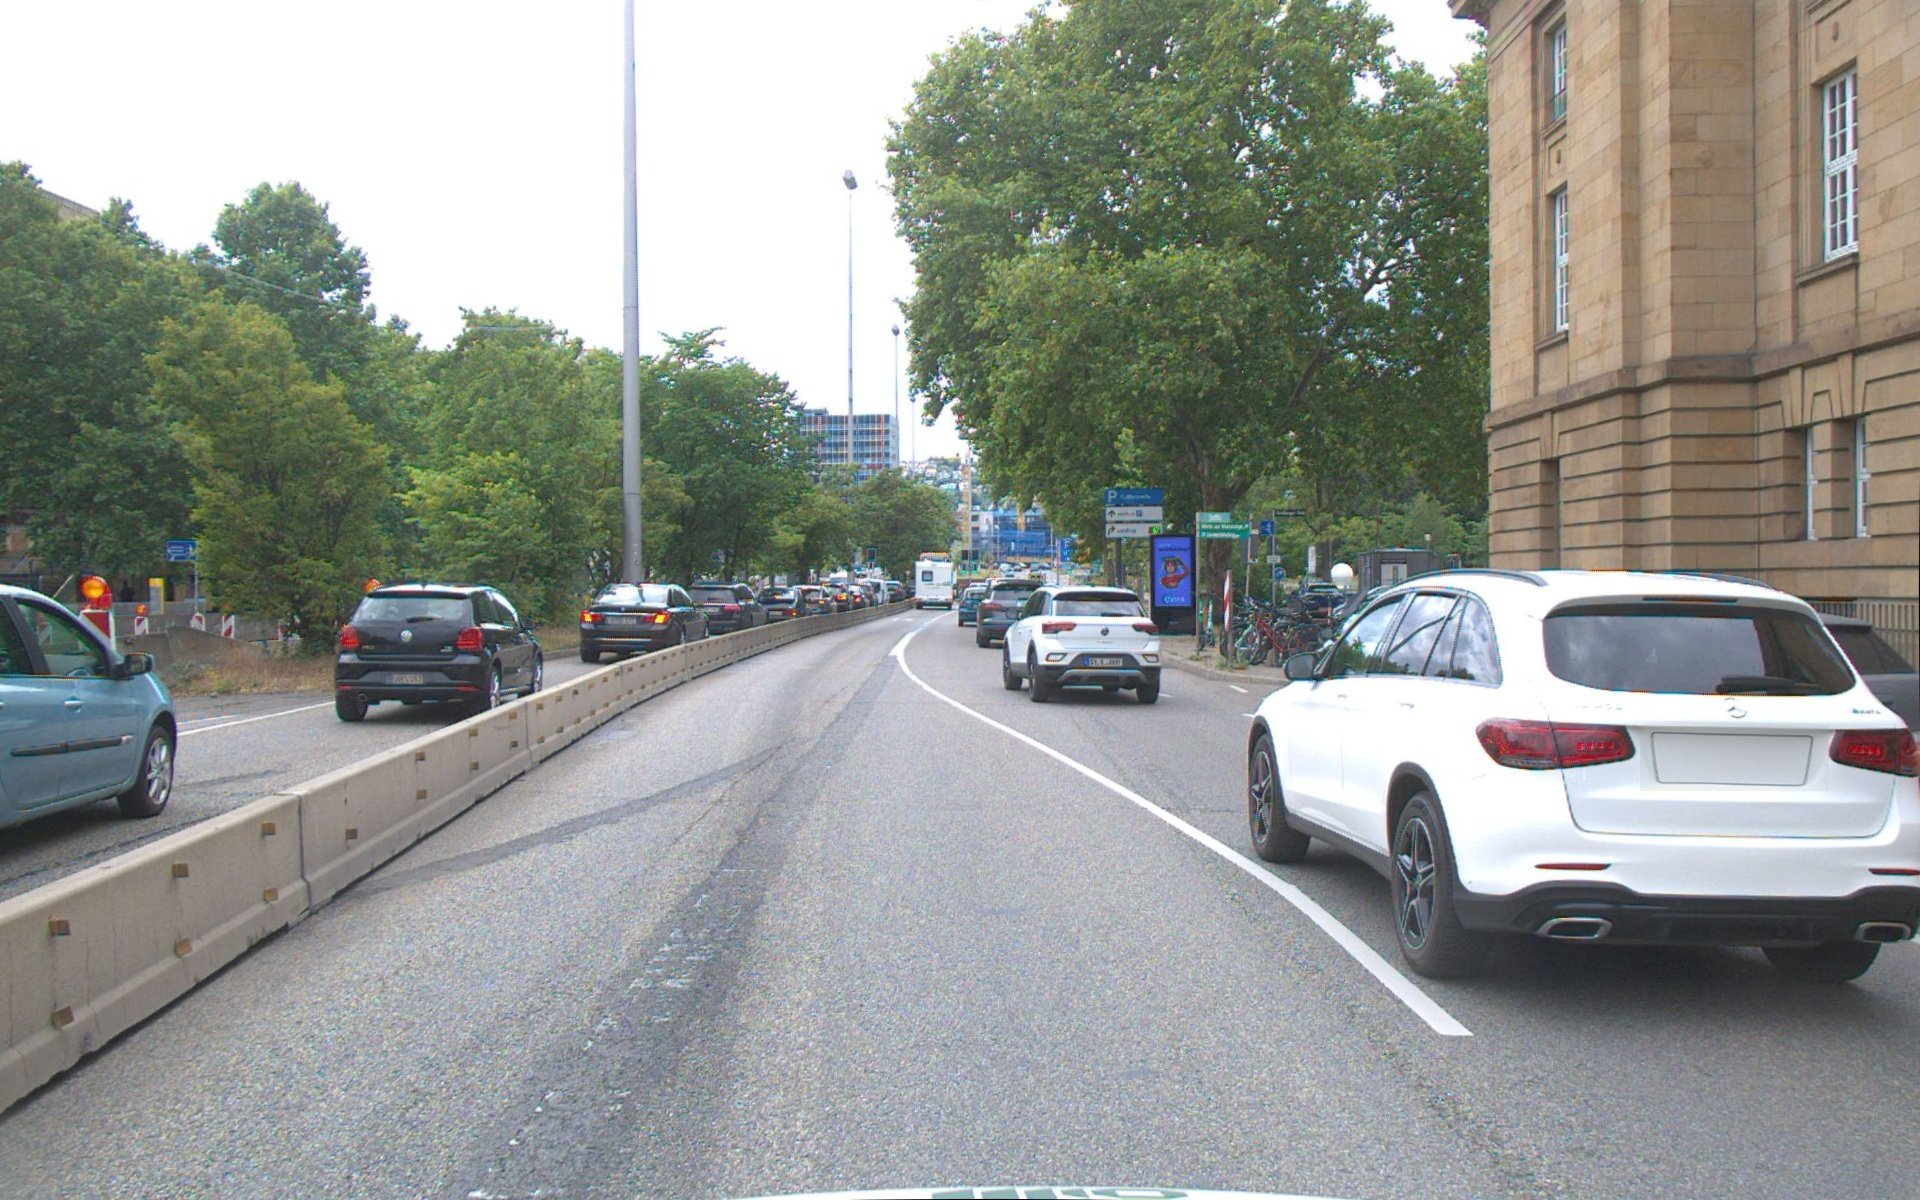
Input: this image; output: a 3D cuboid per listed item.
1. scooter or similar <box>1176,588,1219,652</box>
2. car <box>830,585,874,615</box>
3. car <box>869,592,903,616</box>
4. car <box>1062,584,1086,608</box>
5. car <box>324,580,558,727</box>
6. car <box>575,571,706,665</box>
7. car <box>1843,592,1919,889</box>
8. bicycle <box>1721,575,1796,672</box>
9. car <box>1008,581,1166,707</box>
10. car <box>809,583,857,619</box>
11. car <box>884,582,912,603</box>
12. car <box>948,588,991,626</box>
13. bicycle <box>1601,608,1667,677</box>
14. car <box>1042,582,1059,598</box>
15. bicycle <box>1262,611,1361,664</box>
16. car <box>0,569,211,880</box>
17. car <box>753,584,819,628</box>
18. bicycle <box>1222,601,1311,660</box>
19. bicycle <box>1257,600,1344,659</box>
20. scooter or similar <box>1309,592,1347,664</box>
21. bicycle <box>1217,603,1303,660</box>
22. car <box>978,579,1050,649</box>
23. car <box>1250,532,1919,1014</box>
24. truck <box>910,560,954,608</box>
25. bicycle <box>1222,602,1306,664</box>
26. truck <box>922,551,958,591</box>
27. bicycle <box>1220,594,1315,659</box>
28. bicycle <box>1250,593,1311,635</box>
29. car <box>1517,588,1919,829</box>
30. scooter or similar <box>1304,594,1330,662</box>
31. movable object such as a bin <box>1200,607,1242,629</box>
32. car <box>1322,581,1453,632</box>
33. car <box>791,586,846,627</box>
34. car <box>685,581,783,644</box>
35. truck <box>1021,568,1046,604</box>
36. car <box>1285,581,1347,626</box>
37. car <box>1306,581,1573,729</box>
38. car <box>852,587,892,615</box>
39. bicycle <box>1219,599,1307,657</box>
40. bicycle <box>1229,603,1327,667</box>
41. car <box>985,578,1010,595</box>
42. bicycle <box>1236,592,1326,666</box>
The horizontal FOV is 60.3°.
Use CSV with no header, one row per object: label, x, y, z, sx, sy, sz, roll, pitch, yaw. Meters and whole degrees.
scooter or similar,5.230,0.430,36.461,0.710,1.354,1.413,1,0,0
car,-5.007,0.007,77.058,1.624,1.343,3.549,1,0,3
car,-4.223,0.237,94.571,1.624,1.343,3.548,1,0,2
car,10.009,-0.344,145.716,1.952,2.049,4.001,1,0,2
car,-5.770,0.537,18.877,1.626,1.479,4.194,1,0,-5
car,-6.073,0.319,31.995,1.885,1.664,4.932,1,0,-4
car,5.584,0.692,7.033,1.582,1.480,3.858,-1,0,0
bicycle,10.262,0.289,21.291,0.270,1.203,1.538,-1,0,3
car,1.720,0.571,23.511,1.760,1.636,3.752,1,0,-3
car,-5.284,0.015,69.252,1.739,1.445,4.000,0,1,0
car,-4.129,-0.499,110.782,1.624,1.343,3.548,1,0,2
car,0.377,0.275,64.596,1.625,1.438,3.547,1,0,1
bicycle,10.402,0.637,25.582,0.235,1.015,1.963,0,0,0
car,9.717,-1.061,178.342,1.722,1.698,4.169,0,1,2
bicycle,6.375,0.672,30.016,1.692,0.933,0.614,0,0,20
car,-5.650,0.602,9.085,1.640,1.533,3.849,1,0,-6
car,-5.767,0.174,55.344,1.643,1.391,4.543,0,0,1
bicycle,6.051,0.600,32.665,1.691,1.110,0.575,1,0,9
bicycle,6.221,0.531,30.252,1.530,1.046,0.436,1,0,12
scooter or similar,6.895,0.514,31.010,0.550,1.301,1.149,1,0,7
bicycle,6.112,0.644,33.708,1.691,1.110,0.426,1,0,14
car,1.319,0.339,41.632,1.625,1.668,3.546,1,0,-1
car,2.714,0.598,7.932,1.752,1.653,4.436,1,0,-2
truck,-1.740,-1.020,104.644,2.567,2.911,7.079,1,0,0
bicycle,5.721,0.623,31.108,1.589,1.150,0.466,1,0,-26
truck,-1.559,-2.277,131.814,2.636,3.044,5.638,2,0,0
bicycle,5.979,0.509,32.223,1.722,1.230,0.604,1,0,-3
bicycle,9.549,0.419,49.316,1.747,1.242,0.492,0,0,4
car,5.641,0.660,12.207,1.673,1.451,3.996,-1,0,0
scooter or similar,6.729,0.514,31.203,0.416,1.245,1.313,1,0,11
movable object such as a bin,8.239,0.566,52.134,1.271,0.663,0.729,2,-1,10
car,13.541,0.190,52.570,3.756,1.596,1.679,0,0,1
car,-5.246,0.238,61.619,1.627,1.461,3.961,1,0,1
car,-5.706,0.289,42.279,1.779,1.525,4.769,0,0,1
truck,8.810,-1.669,198.931,2.818,4.175,6.639,1,0,1
car,13.960,0.105,65.039,1.724,1.578,4.029,0,2,2
car,5.417,0.562,19.275,1.752,1.512,4.324,1,0,-2
car,-4.451,0.043,84.058,1.624,1.343,3.549,1,0,4
bicycle,6.054,0.560,33.057,1.691,1.110,0.381,1,0,14
bicycle,5.631,0.617,29.279,1.628,1.093,0.585,1,0,20
car,2.976,-1.082,132.227,1.906,1.343,4.018,1,0,2
bicycle,5.763,0.504,29.683,1.510,1.278,0.543,1,0,20
